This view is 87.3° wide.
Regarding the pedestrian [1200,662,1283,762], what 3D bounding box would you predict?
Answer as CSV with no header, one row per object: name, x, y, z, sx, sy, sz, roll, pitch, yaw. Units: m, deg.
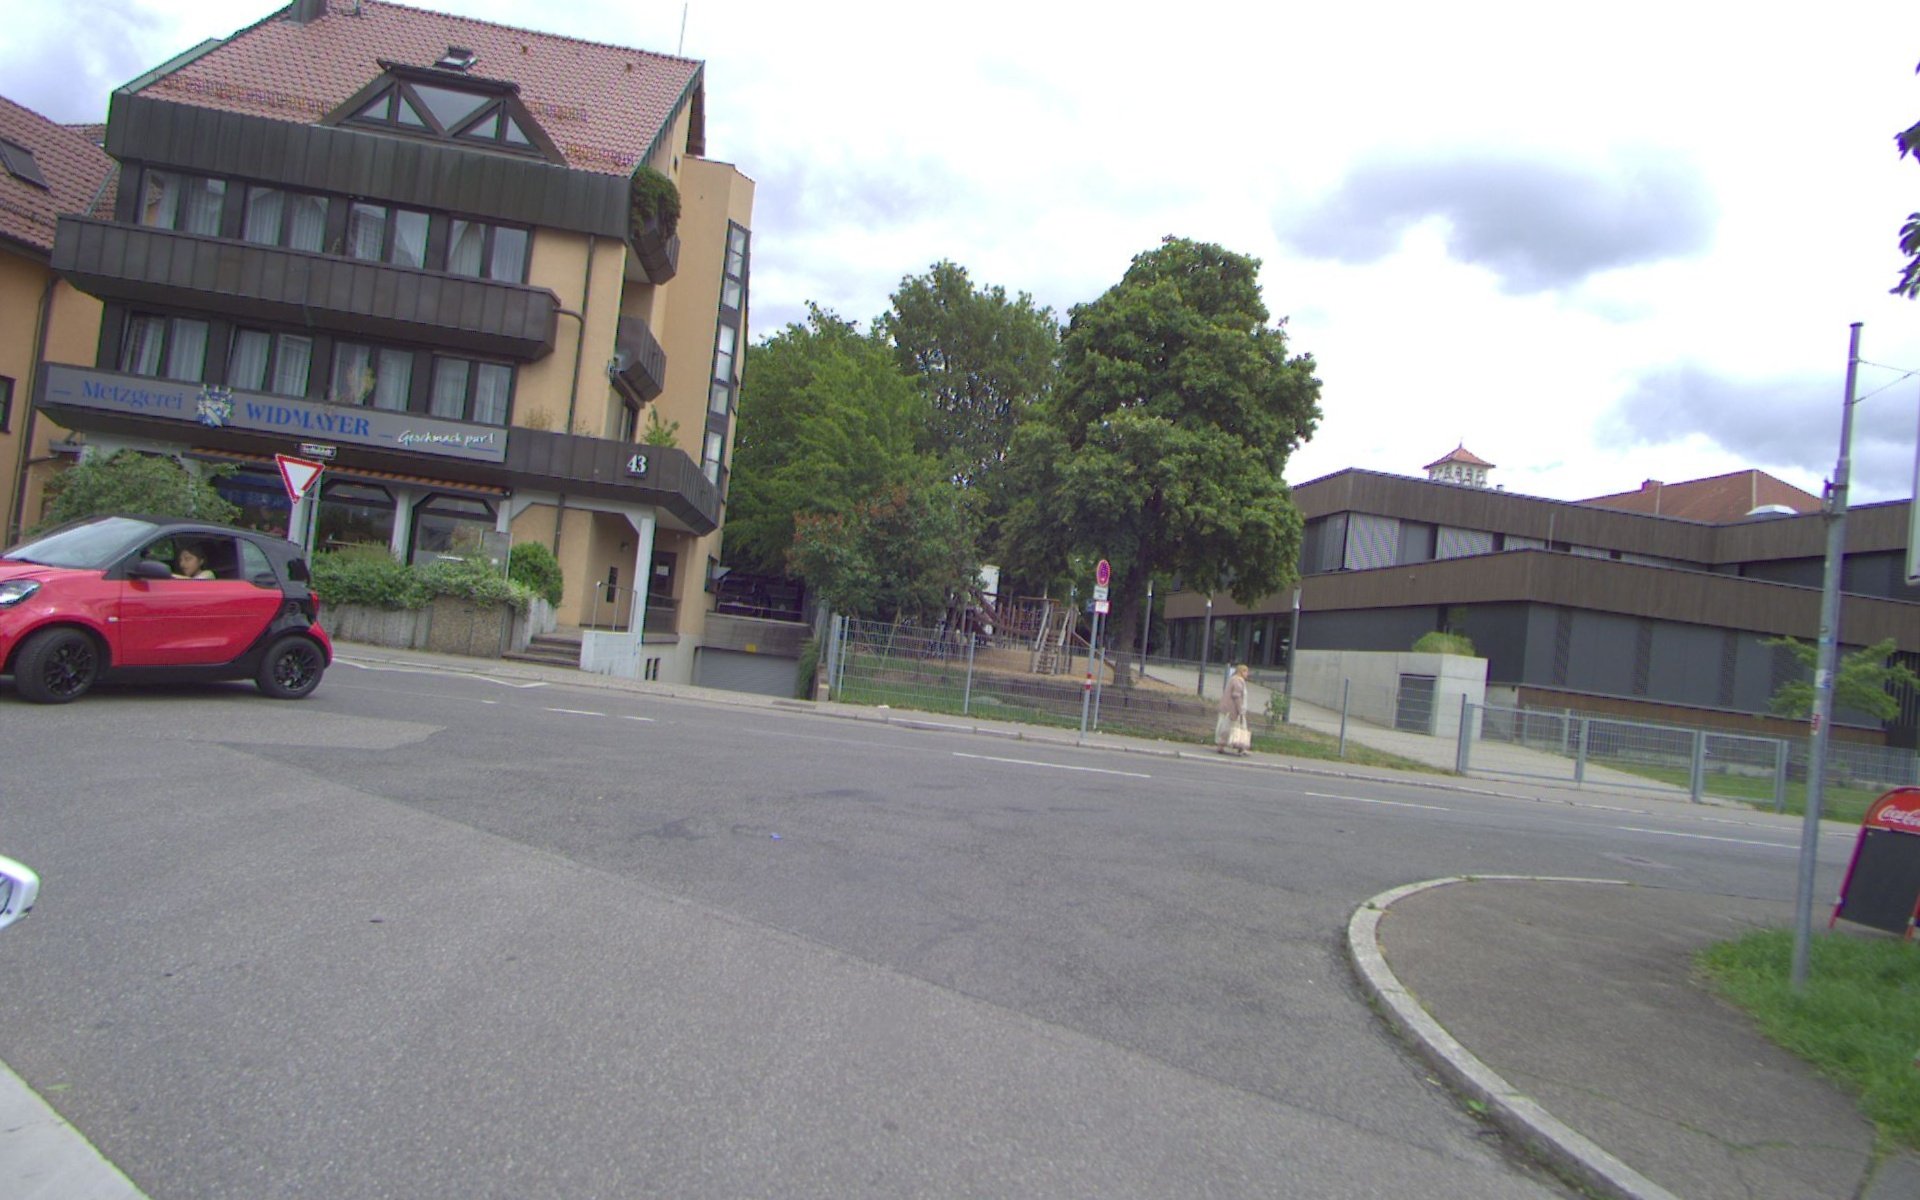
pedestrian,4.877,1.919,17.480,0.943,1.553,0.900,7,-1,-6

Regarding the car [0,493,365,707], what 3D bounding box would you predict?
car,-7.273,0.006,8.820,1.786,1.538,2.941,7,-1,20
